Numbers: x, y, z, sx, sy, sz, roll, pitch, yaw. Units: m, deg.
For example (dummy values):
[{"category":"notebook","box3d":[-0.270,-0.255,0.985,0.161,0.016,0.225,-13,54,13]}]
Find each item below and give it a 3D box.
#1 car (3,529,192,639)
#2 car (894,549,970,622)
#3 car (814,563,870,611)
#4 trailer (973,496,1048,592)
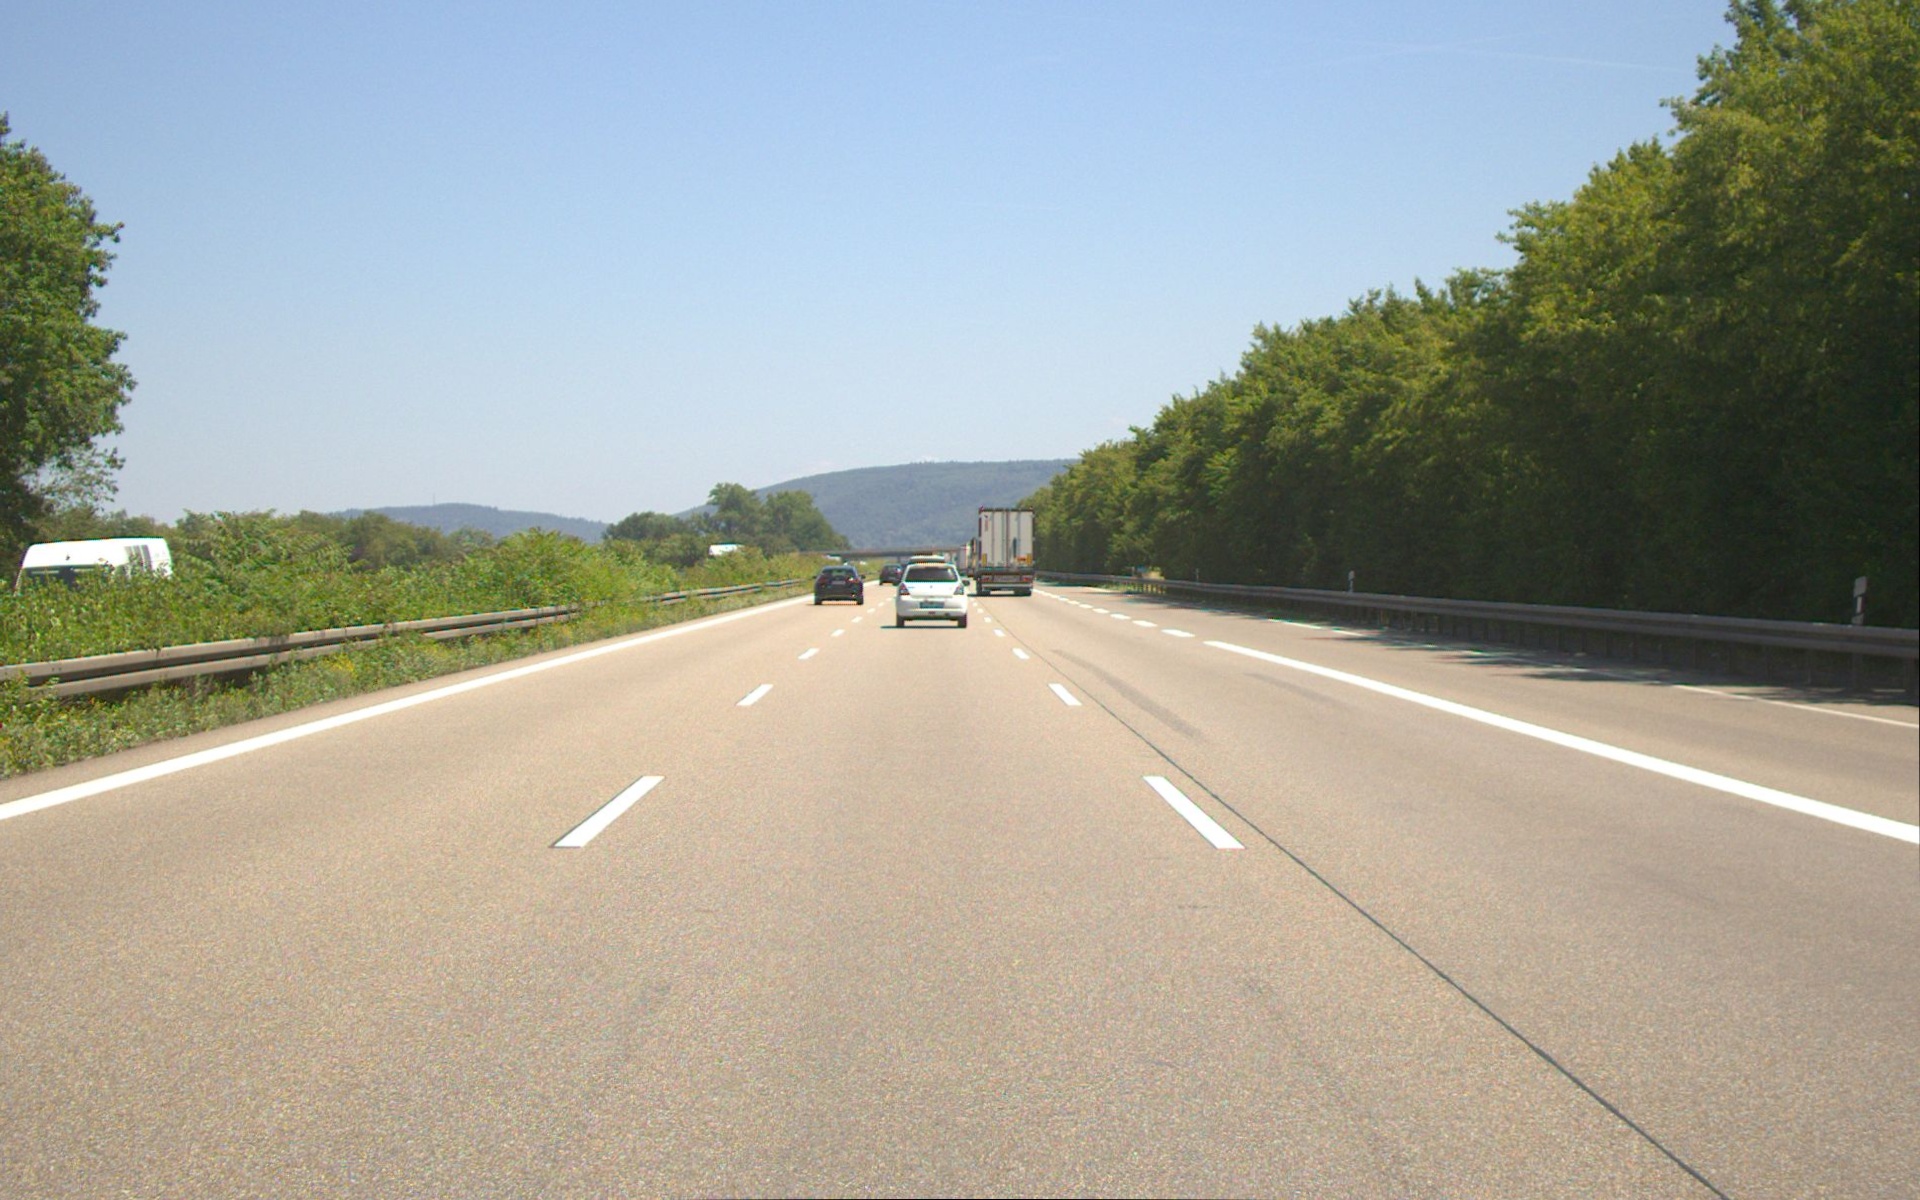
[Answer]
[{"category":"car","box3d":[-17.111,-0.334,68.595,2.146,2.047,6.634,1,1,-1]},{"category":"car","box3d":[-0.678,-0.362,81.958,1.732,1.678,4.000,-1,1,-1]},{"category":"car","box3d":[-4.343,-0.500,126.727,1.993,1.706,4.000,1,1,-1]},{"category":"trailer","box3d":[2.486,-2.621,164.201,3.218,4.330,13.628,1,1,2]}]
